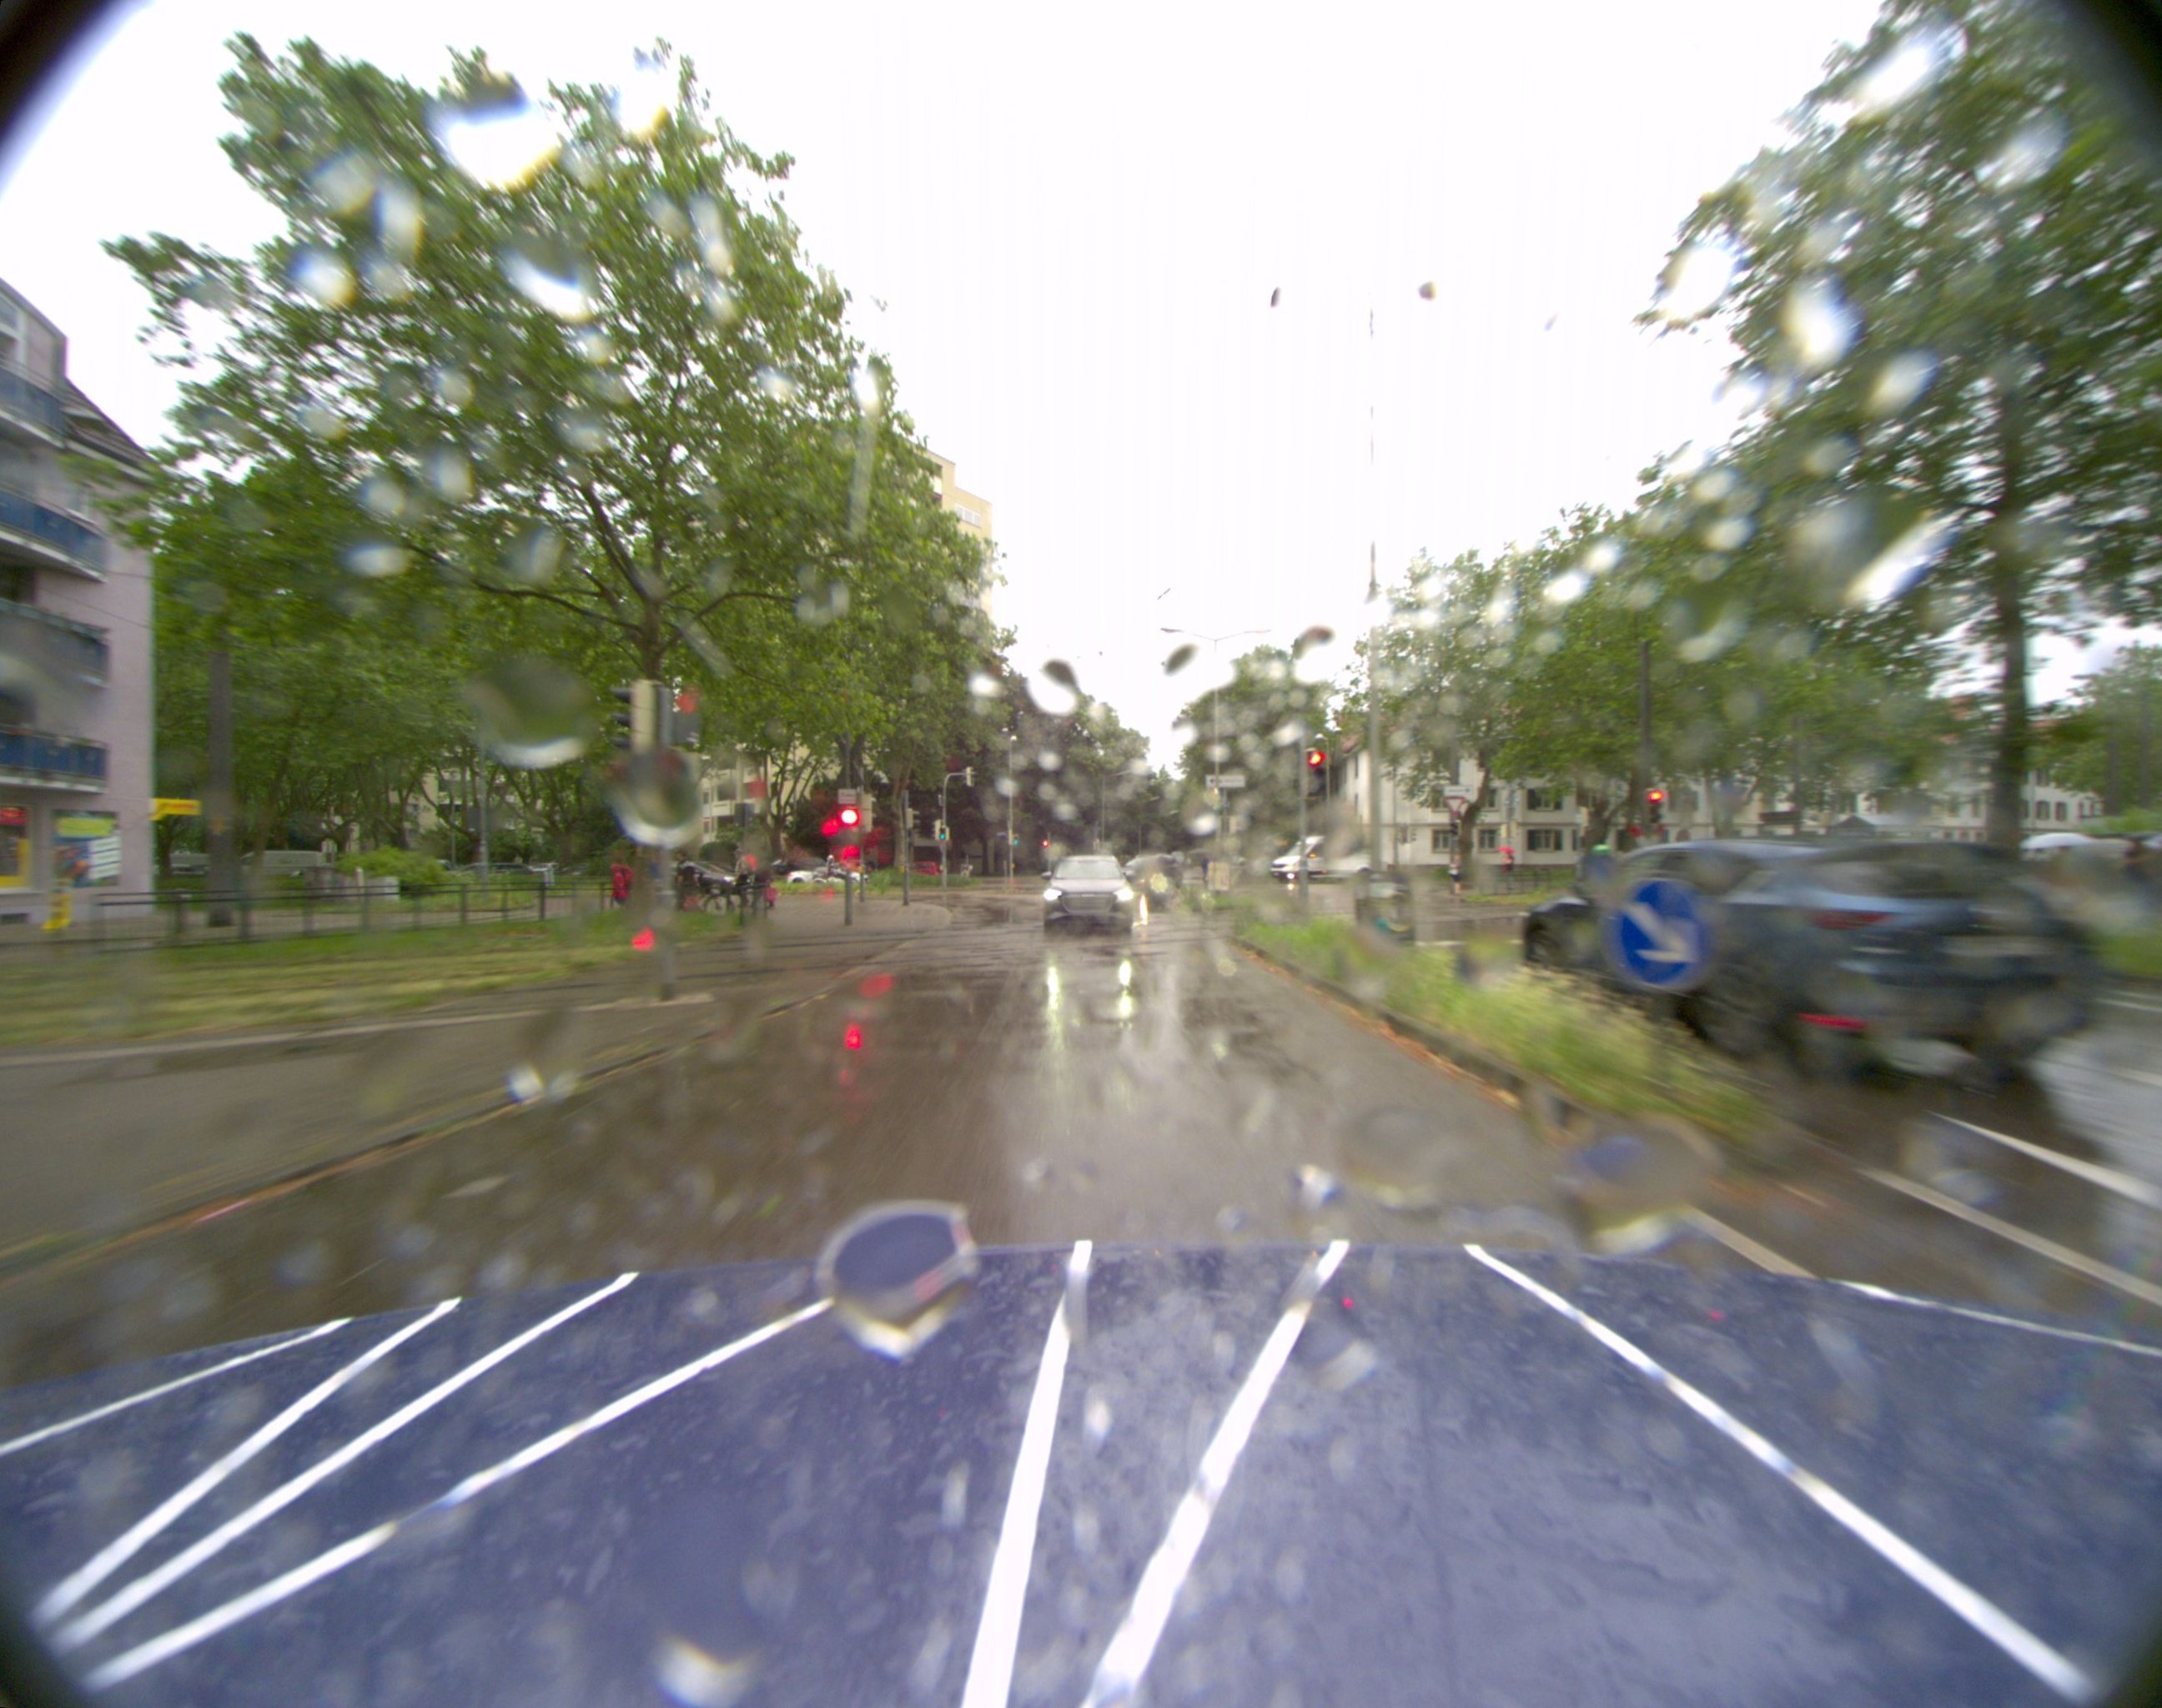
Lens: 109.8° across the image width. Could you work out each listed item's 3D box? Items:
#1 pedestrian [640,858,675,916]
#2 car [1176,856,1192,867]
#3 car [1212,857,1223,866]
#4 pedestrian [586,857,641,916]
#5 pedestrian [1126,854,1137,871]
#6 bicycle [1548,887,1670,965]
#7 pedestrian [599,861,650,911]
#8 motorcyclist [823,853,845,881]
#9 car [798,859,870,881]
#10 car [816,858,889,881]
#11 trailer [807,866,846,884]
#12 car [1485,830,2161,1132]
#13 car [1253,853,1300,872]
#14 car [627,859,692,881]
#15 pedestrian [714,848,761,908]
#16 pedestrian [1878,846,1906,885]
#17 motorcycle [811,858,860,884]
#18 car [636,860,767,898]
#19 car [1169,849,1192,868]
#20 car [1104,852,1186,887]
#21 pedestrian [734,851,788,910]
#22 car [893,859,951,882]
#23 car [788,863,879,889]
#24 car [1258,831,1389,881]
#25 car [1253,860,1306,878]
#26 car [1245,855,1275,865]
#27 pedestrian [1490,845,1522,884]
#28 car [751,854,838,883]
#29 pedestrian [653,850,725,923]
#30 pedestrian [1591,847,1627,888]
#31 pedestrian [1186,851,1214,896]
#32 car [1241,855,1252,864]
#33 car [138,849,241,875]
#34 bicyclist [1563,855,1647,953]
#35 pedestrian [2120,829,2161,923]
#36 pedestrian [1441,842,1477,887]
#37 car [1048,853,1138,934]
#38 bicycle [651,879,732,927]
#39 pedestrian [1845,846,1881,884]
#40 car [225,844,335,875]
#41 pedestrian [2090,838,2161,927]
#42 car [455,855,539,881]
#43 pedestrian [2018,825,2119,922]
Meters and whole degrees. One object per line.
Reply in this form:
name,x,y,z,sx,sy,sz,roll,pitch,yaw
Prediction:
pedestrian,-11.514,0.891,20.679,0.762,1.538,0.691,1,0,-23
car,14.955,1.118,110.499,1.997,1.530,4.004,-1,0,11
car,28.256,1.539,157.139,1.997,1.795,4.353,-1,0,8
pedestrian,-12.468,0.852,20.293,1.066,1.517,0.877,0,1,-18
pedestrian,4.985,0.851,74.817,0.942,1.650,0.930,1,0,16
bicycle,8.087,1.066,11.740,0.533,1.018,1.874,0,0,-2
pedestrian,-12.609,0.879,21.006,1.010,1.373,0.673,1,0,-9
motorcyclist,-12.138,0.644,37.373,0.754,1.343,0.758,-1,0,5
car,-15.939,1.048,49.266,3.997,1.359,2.000,-1,0,-1
car,-15.978,1.079,53.252,4.448,1.598,1.942,-1,0,10
trailer,-12.166,1.017,36.390,1.481,0.837,1.028,-1,0,6
car,5.780,0.793,6.766,2.078,1.672,4.933,-3,-2,6
car,20.069,0.832,78.157,4.663,1.862,2.036,1,0,12
car,-31.542,1.200,56.873,3.992,1.623,1.934,-1,0,15
pedestrian,-10.377,0.700,22.972,0.992,1.771,0.813,1,0,13
pedestrian,38.856,0.544,36.426,0.858,1.815,0.851,1,0,44
motorcycle,-12.066,0.832,37.382,2.072,1.207,0.882,-1,0,5
car,-14.996,0.959,30.161,4.173,1.452,1.995,0,0,2
car,13.289,0.613,101.026,2.398,2.461,5.698,1,0,13
car,2.879,0.658,33.441,1.849,1.435,4.009,0,0,34
pedestrian,-9.420,0.761,22.383,1.053,1.676,0.998,1,0,24
car,-10.969,1.119,52.571,3.456,1.516,1.843,-1,0,8
car,-13.015,1.152,40.111,4.169,1.268,1.903,-1,0,1
car,12.952,0.062,40.607,6.515,2.547,2.281,-1,0,-16
car,18.728,1.402,71.983,4.733,1.613,1.932,1,0,10
car,28.934,0.914,123.138,4.663,1.595,2.036,1,0,12
pedestrian,18.700,0.476,33.452,0.861,1.678,0.848,1,0,-16
car,-17.169,0.863,45.763,1.870,1.654,4.613,-1,0,35
pedestrian,-9.840,0.793,19.098,1.235,1.778,1.038,0,0,3
pedestrian,21.983,0.569,31.629,0.850,1.678,0.859,1,0,-17
pedestrian,4.224,0.704,27.011,0.863,1.572,0.642,1,0,-5
car,34.095,1.200,156.611,1.997,1.795,4.003,-1,0,7
car,-80.868,0.693,69.043,5.615,2.284,2.228,0,0,-33
bicyclist,8.097,0.744,11.777,0.581,1.452,1.011,0,0,-2
pedestrian,21.657,0.438,15.128,0.956,1.851,0.848,1,0,-16
pedestrian,14.503,0.398,29.151,0.850,1.678,0.859,1,0,-17
car,0.206,0.834,17.889,1.809,1.611,4.137,-2,0,-1
bicycle,-9.188,1.139,17.966,1.619,1.070,0.445,0,0,-14
pedestrian,37.607,0.533,36.542,0.859,1.776,0.849,1,0,8
car,-63.389,0.420,60.302,5.614,2.387,2.229,0,0,-30
pedestrian,22.599,0.605,16.293,0.956,1.851,0.848,1,0,-16
car,-38.842,0.884,50.615,1.994,1.645,4.008,-1,0,35
pedestrian,20.763,0.387,16.020,0.909,1.953,1.217,0,1,32
